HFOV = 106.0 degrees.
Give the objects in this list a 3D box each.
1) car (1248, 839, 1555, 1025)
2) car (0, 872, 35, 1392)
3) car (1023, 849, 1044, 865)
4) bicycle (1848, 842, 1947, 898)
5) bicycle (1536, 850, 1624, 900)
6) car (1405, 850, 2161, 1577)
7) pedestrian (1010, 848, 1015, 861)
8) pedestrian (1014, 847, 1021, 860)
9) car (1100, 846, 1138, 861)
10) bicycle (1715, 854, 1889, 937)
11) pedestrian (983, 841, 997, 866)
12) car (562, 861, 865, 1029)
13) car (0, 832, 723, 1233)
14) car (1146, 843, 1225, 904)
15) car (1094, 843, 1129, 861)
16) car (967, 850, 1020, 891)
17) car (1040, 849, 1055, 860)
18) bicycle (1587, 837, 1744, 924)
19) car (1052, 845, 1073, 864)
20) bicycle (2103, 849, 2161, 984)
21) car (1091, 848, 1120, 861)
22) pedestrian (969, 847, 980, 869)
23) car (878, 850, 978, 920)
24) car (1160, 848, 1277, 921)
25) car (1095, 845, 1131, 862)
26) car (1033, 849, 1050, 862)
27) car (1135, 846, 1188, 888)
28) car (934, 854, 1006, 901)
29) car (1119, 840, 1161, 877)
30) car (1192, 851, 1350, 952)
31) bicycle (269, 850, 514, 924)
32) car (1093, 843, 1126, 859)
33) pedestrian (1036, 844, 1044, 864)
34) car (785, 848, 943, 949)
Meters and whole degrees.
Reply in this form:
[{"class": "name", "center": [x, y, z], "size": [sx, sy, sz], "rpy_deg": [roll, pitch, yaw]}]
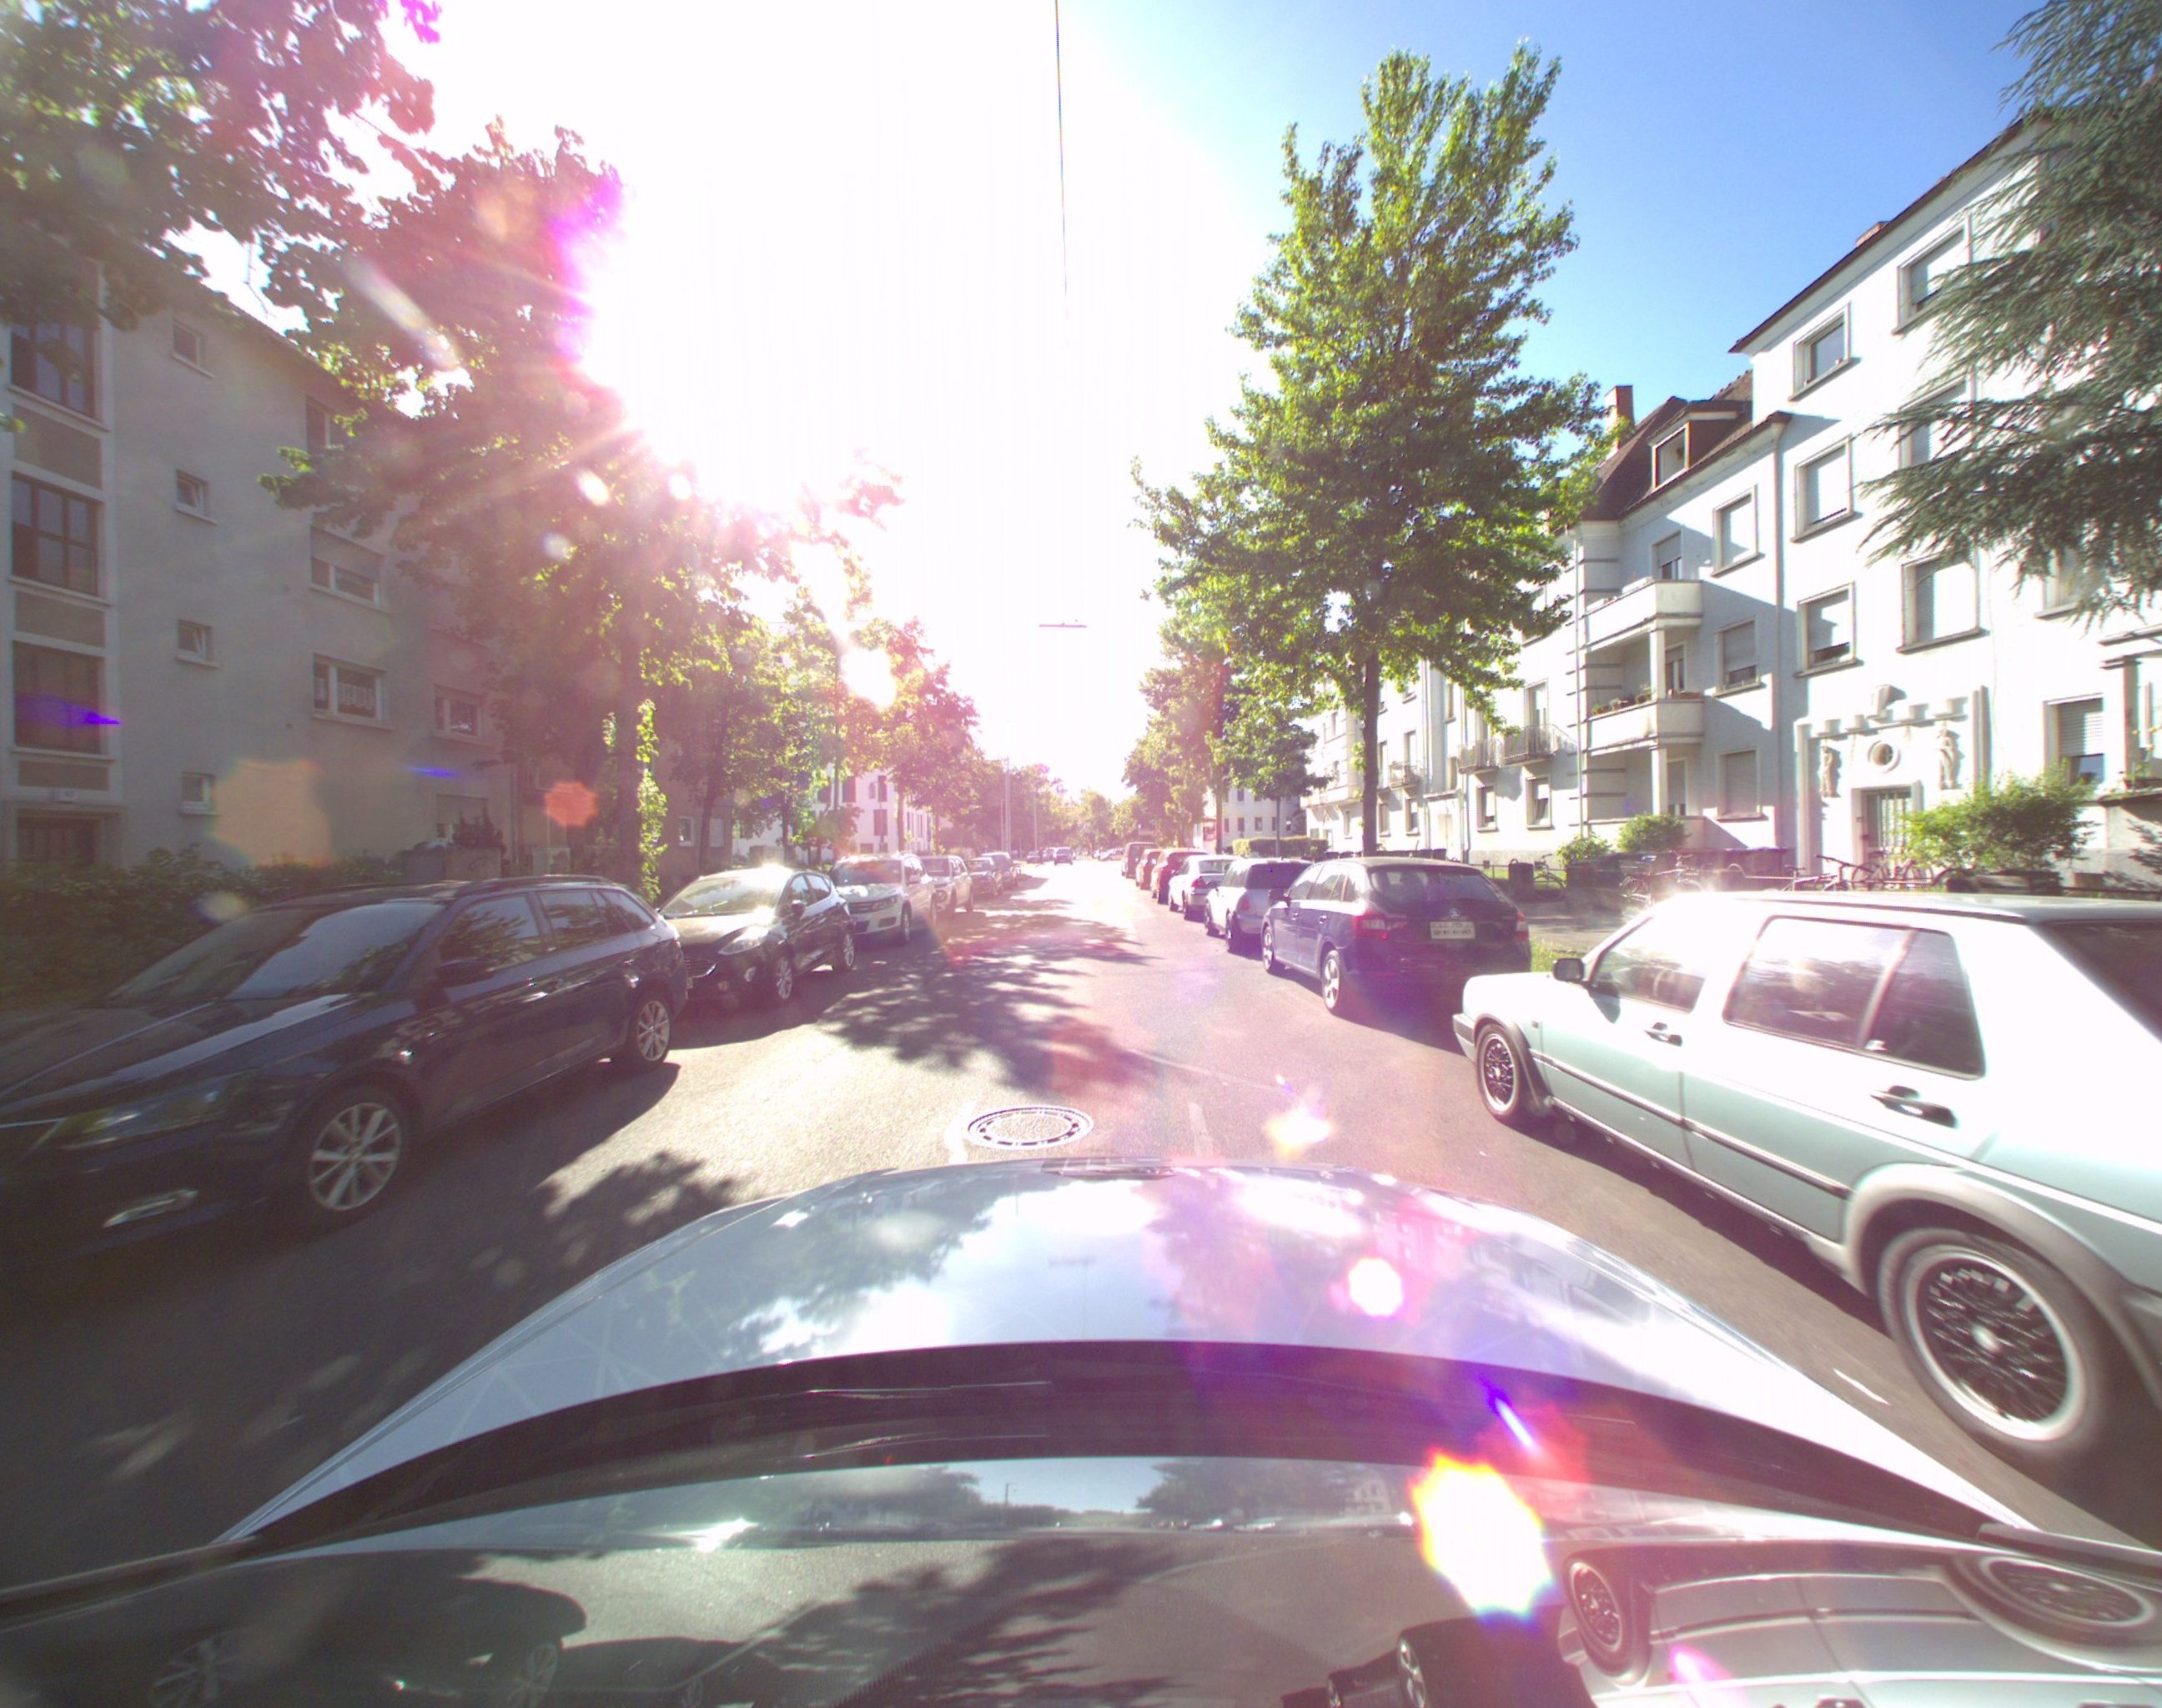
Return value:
[{"class": "car", "center": [3.120, 0.620, 8.987], "size": [1.687, 1.540, 4.441], "rpy_deg": [0, 1, 0]}, {"class": "car", "center": [-3.937, 0.830, 0.126], "size": [1.785, 1.566, 4.461], "rpy_deg": [-4, 0, -3]}, {"class": "car", "center": [-5.175, 0.293, 89.858], "size": [1.987, 1.671, 4.000], "rpy_deg": [-1, 0, 0]}, {"class": "bicycle", "center": [16.003, 0.300, 15.965], "size": [1.578, 0.971, 0.474], "rpy_deg": [-4, 0, -7]}, {"class": "bicycle", "center": [10.993, 0.460, 17.952], "size": [1.574, 0.971, 0.501], "rpy_deg": [-4, 0, 0]}, {"class": "car", "center": [3.084, 0.737, 3.346], "size": [1.745, 1.454, 4.462], "rpy_deg": [1, 0, 0]}, {"class": "pedestrian", "center": [-10.145, 0.130, 120.413], "size": [0.761, 1.900, 0.817], "rpy_deg": [-1, 0, -6]}, {"class": "pedestrian", "center": [-9.700, -0.121, 124.230], "size": [0.858, 2.013, 0.979], "rpy_deg": [-1, 0, -7]}, {"class": "car", "center": [4.118, -0.074, 88.378], "size": [3.979, 1.587, 1.724], "rpy_deg": [-1, 0, -4]}, {"class": "bicycle", "center": [9.350, 0.497, 10.675], "size": [0.593, 0.957, 1.903], "rpy_deg": [-2, 0, 0]}, {"class": "pedestrian", "center": [-7.530, -0.058, 67.575], "size": [0.854, 2.013, 0.983], "rpy_deg": [-1, 0, 8]}, {"class": "car", "center": [-3.993, 0.872, 9.657], "size": [1.756, 1.443, 3.907], "rpy_deg": [-3, 0, -1]}, {"class": "car", "center": [-4.088, 0.672, 5.075], "size": [1.823, 1.453, 4.122], "rpy_deg": [-2, 0, 0]}, {"class": "car", "center": [3.165, 0.532, 25.547], "size": [1.901, 1.699, 4.313], "rpy_deg": [2, 0, 0]}, {"class": "car", "center": [3.546, -0.249, 96.421], "size": [3.977, 2.013, 1.998], "rpy_deg": [-1, 0, -3]}, {"class": "car", "center": [-3.768, 0.661, 35.741], "size": [1.834, 1.595, 4.261], "rpy_deg": [-3, 0, 0]}, {"class": "car", "center": [-5.215, 0.053, 126.930], "size": [1.987, 1.585, 4.000], "rpy_deg": [-1, 0, 0]}, {"class": "bicycle", "center": [9.275, 0.387, 13.074], "size": [0.836, 1.257, 2.228], "rpy_deg": [-1, 0, -3]}, {"class": "car", "center": [-1.713, 0.046, 74.076], "size": [1.778, 1.609, 3.997], "rpy_deg": [-2, 0, -2]}, {"class": "bicycle", "center": [9.364, 0.518, 6.127], "size": [0.802, 1.115, 1.998], "rpy_deg": [-1, 0, -3]}, {"class": "car", "center": [3.529, 0.061, 117.034], "size": [3.983, 1.882, 1.995], "rpy_deg": [-1, 0, -7]}, {"class": "pedestrian", "center": [-9.931, 0.332, 76.133], "size": [0.857, 2.013, 0.980], "rpy_deg": [-1, 0, -2]}, {"class": "car", "center": [-3.819, 0.715, 20.959], "size": [1.704, 1.544, 3.931], "rpy_deg": [-3, 0, 1]}, {"class": "car", "center": [3.131, 0.649, 19.481], "size": [1.891, 1.474, 4.697], "rpy_deg": [2, 0, -1]}, {"class": "car", "center": [3.701, -0.070, 93.594], "size": [3.977, 1.805, 1.888], "rpy_deg": [-1, 0, -3]}, {"class": "car", "center": [-5.068, 0.227, 105.146], "size": [1.987, 1.585, 4.000], "rpy_deg": [-1, 0, 0]}, {"class": "car", "center": [3.277, 0.502, 33.808], "size": [1.828, 1.600, 4.159], "rpy_deg": [1, 0, 1]}, {"class": "car", "center": [-3.939, 0.802, 29.670], "size": [1.987, 1.453, 4.261], "rpy_deg": [-4, 0, -1]}, {"class": "car", "center": [3.260, 0.208, 46.034], "size": [1.965, 1.949, 4.984], "rpy_deg": [-1, 0, 0]}, {"class": "car", "center": [3.010, 0.688, 13.705], "size": [1.783, 1.453, 3.781], "rpy_deg": [0, 0, 0]}, {"class": "bicycle", "center": [-12.377, 0.539, 14.814], "size": [0.904, 1.136, 3.258], "rpy_deg": [-1, 0, 34]}, {"class": "car", "center": [3.502, -0.351, 100.918], "size": [3.977, 1.830, 1.998], "rpy_deg": [-1, 0, -3]}, {"class": "pedestrian", "center": [-4.092, -0.011, 81.707], "size": [0.715, 1.900, 0.834], "rpy_deg": [-1, 0, -10]}, {"class": "car", "center": [-3.914, 0.723, 15.449], "size": [1.805, 1.596, 4.232], "rpy_deg": [-2, 0, 0]}]
